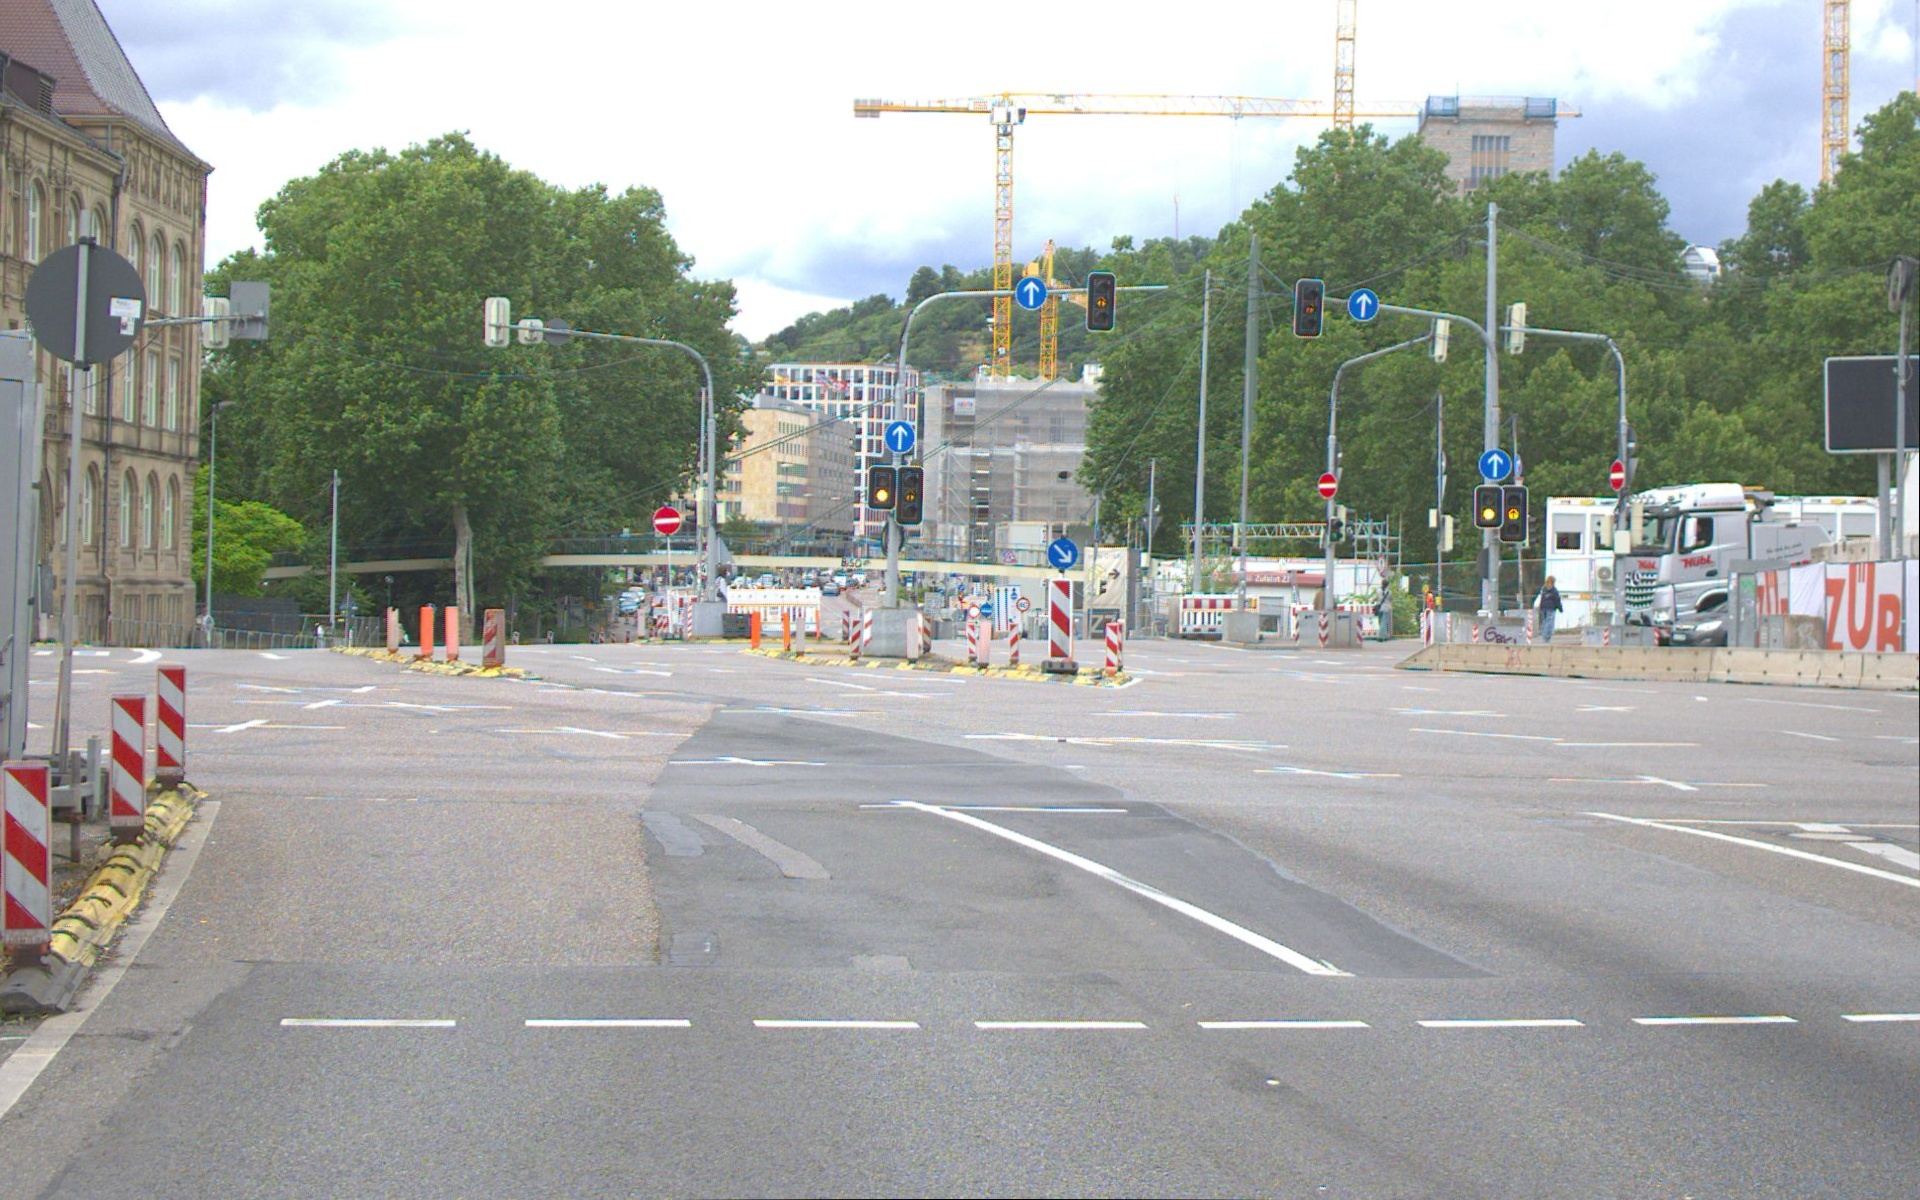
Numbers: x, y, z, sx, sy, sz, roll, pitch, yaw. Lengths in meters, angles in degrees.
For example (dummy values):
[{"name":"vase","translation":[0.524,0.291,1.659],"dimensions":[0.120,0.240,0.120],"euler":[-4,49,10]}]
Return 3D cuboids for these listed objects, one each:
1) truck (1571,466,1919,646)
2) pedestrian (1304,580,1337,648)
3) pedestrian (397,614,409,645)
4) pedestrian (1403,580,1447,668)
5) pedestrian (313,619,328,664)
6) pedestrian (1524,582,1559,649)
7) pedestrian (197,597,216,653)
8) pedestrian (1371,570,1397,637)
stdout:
[{"name":"truck","translation":[21.359,-0.986,82.007],"dimensions":[13.022,4.027,3.952],"euler":[1,1,-20]},{"name":"pedestrian","translation":[9.152,0.355,87.267],"dimensions":[0.729,1.683,0.678],"euler":[1,1,-1]},{"name":"pedestrian","translation":[-29.034,1.543,179.281],"dimensions":[0.536,1.587,0.516],"euler":[1,1,-4]},{"name":"pedestrian","translation":[9.132,0.464,67.552],"dimensions":[0.729,1.683,0.678],"euler":[1,1,-1]},{"name":"pedestrian","translation":[-28.653,1.866,154.122],"dimensions":[0.524,2.007,0.567],"euler":[1,1,0]},{"name":"pedestrian","translation":[14.857,0.395,87.823],"dimensions":[0.622,1.683,0.710],"euler":[2,1,29]},{"name":"pedestrian","translation":[-27.207,0.896,124.168],"dimensions":[0.524,2.007,0.567],"euler":[1,1,0]},{"name":"pedestrian","translation":[10.804,0.098,87.564],"dimensions":[0.566,1.683,0.472],"euler":[1,1,-1]}]
